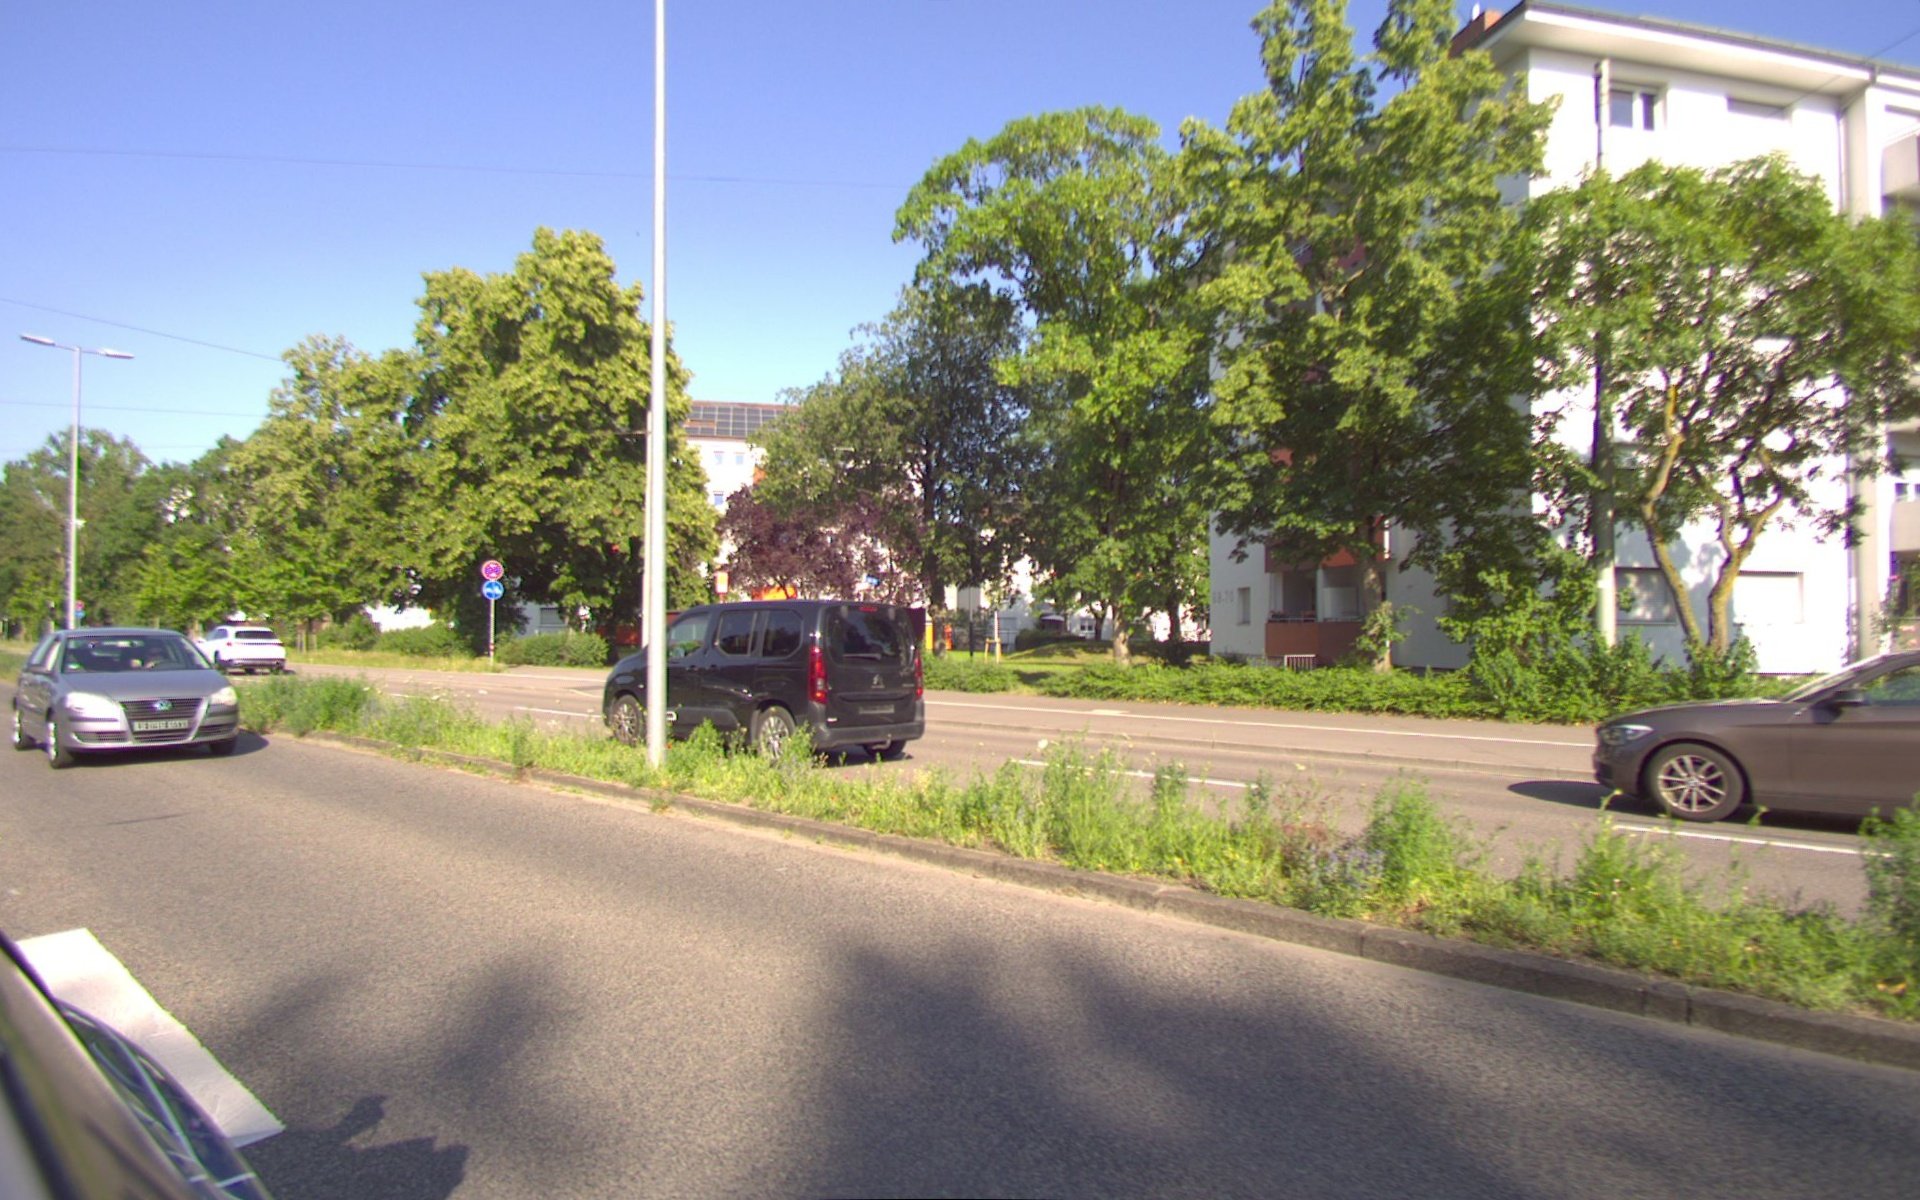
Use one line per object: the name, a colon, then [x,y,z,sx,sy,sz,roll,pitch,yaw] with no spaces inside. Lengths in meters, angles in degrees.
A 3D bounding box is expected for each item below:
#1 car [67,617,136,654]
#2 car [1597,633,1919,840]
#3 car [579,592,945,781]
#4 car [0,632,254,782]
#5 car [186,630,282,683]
car: [-40.985,1.723,48.285,4.044,1.692,1.752,-2,-3,39]
car: [7.393,0.973,7.485,4.323,1.430,1.706,-2,-4,41]
car: [-2.437,0.903,11.785,4.477,1.798,1.772,-2,-3,40]
car: [-9.804,1.118,11.821,3.831,1.439,1.671,-2,-2,41]
car: [-25.073,1.925,34.891,4.512,1.692,1.642,-2,-4,41]
